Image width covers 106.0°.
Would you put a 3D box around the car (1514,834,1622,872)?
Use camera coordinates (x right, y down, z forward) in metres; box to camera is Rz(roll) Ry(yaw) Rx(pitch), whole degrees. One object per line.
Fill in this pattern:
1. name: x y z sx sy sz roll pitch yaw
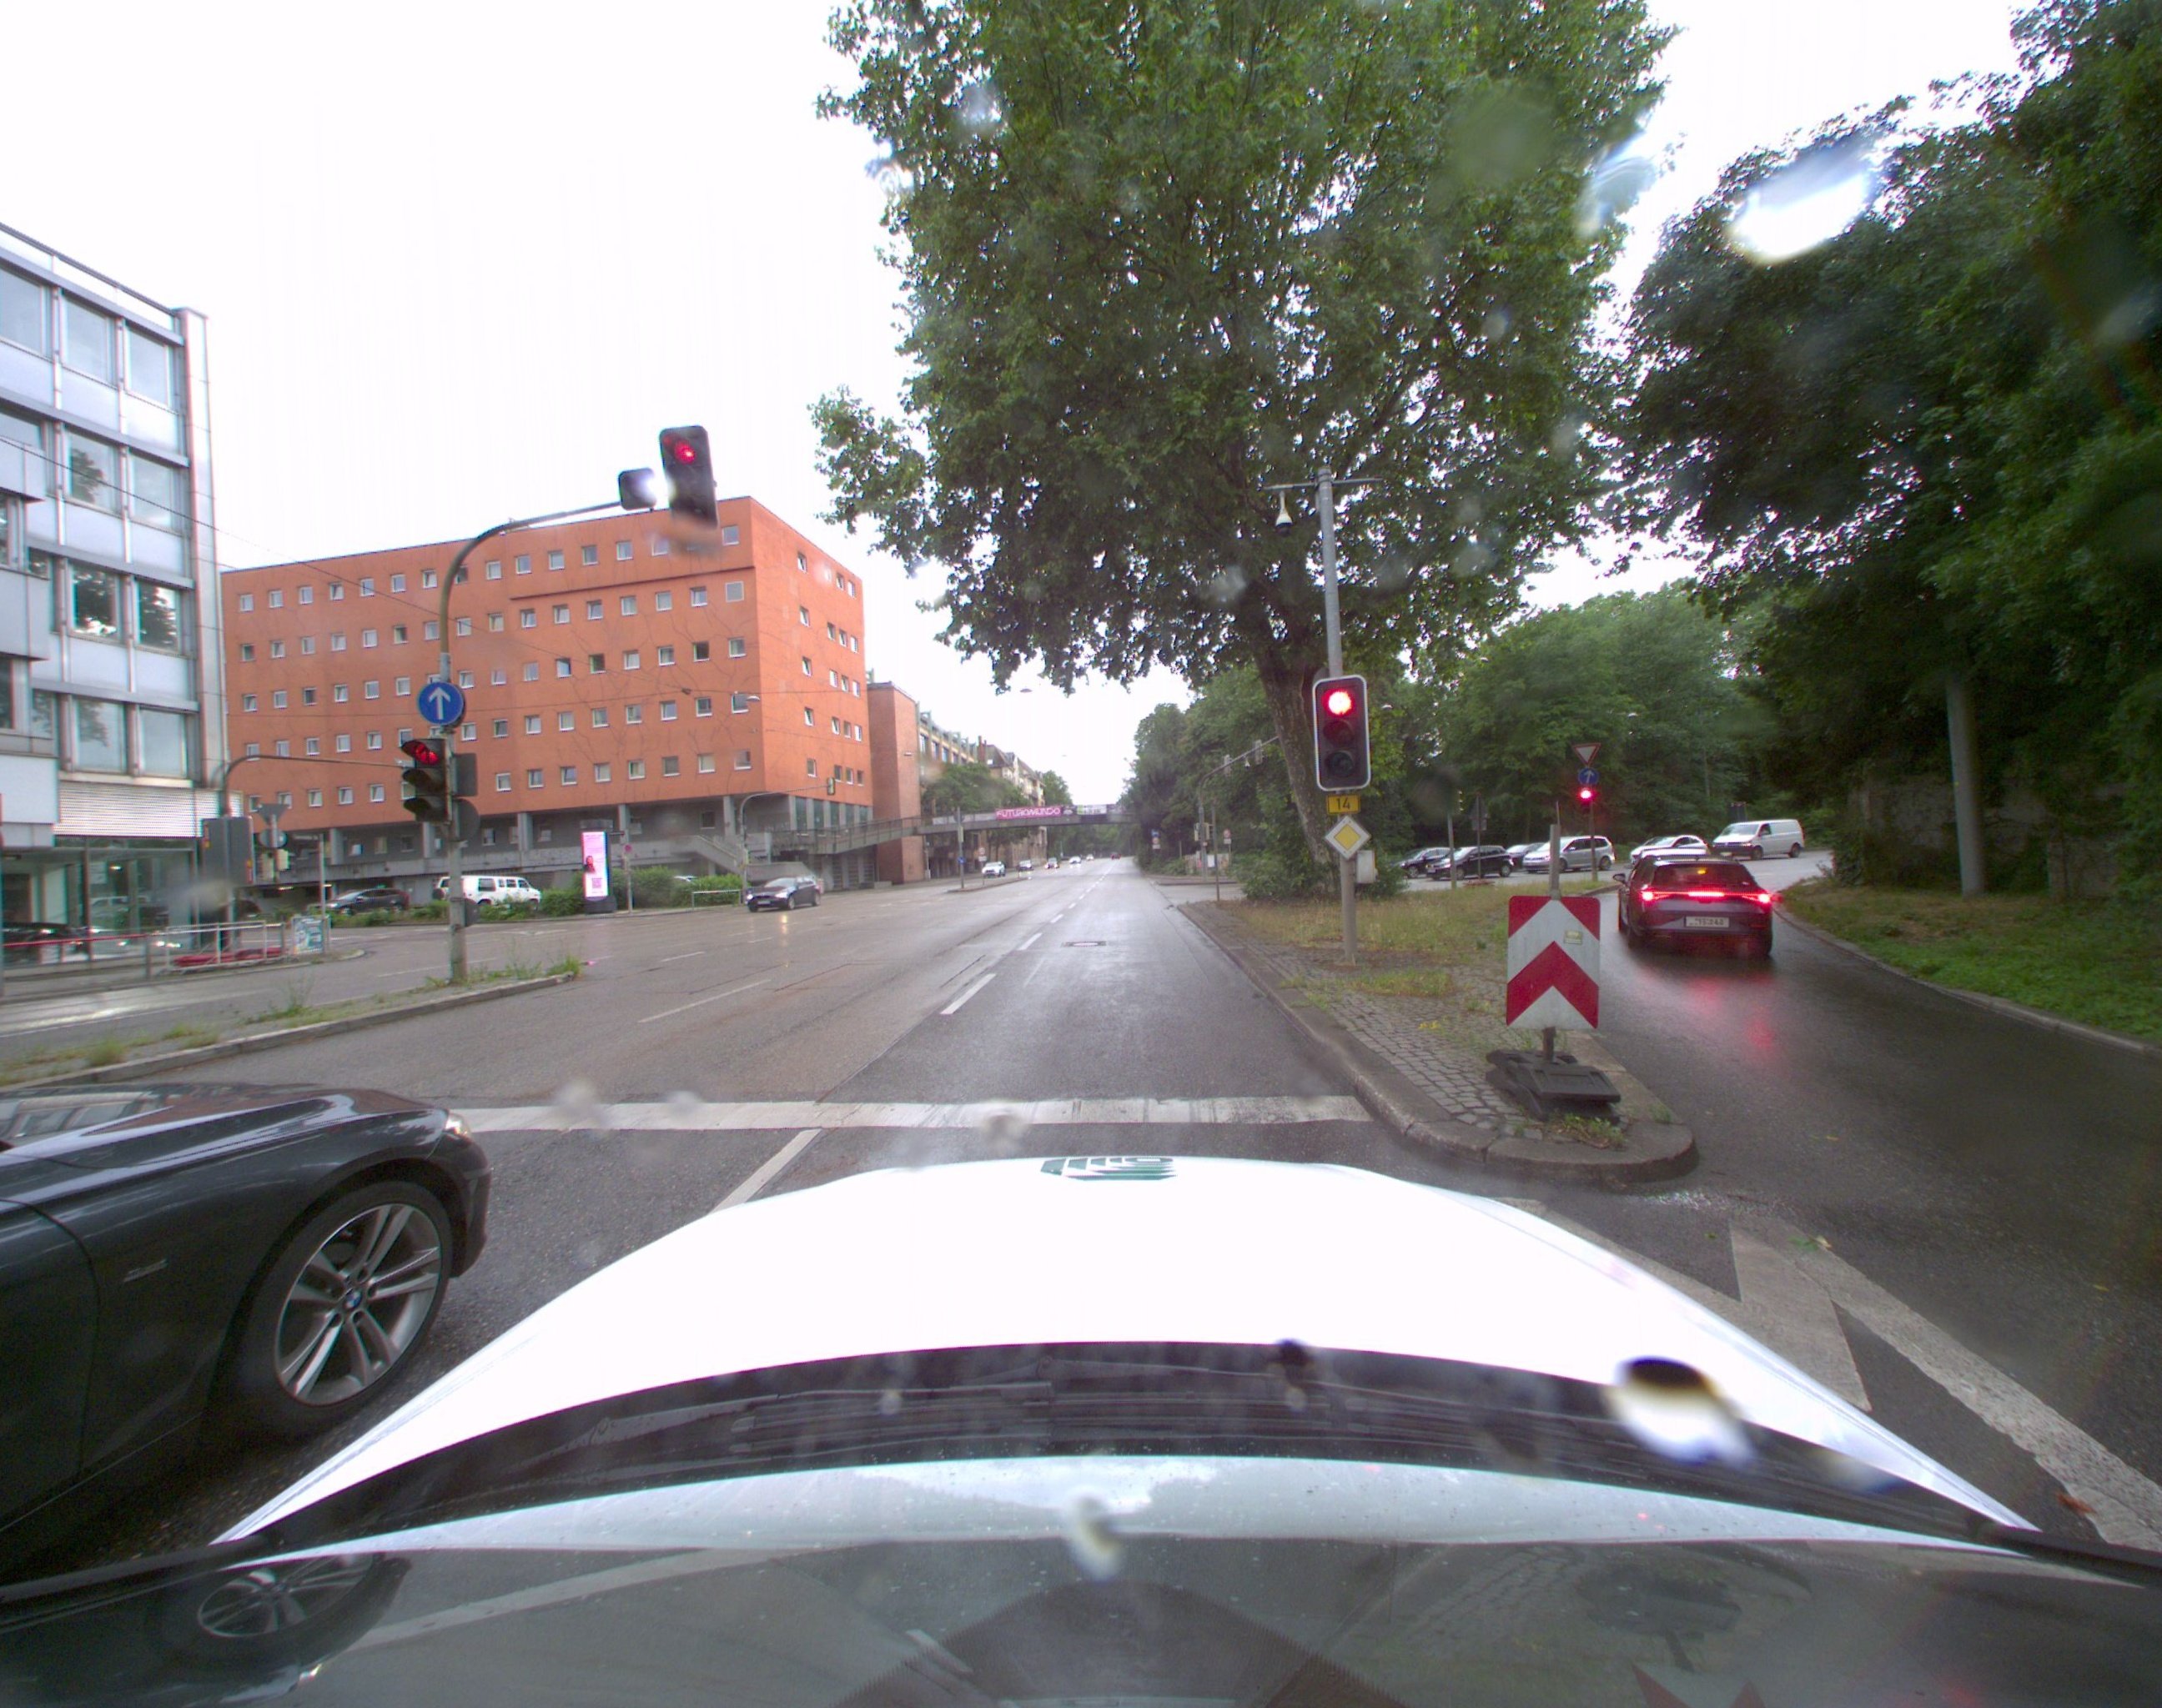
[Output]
1. car: 22.574 -0.051 37.814 4.203 1.680 1.898 0 -1 -14

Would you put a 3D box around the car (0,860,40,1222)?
1. car: -5.998 0.847 1.687 1.801 1.656 4.449 0 -1 4

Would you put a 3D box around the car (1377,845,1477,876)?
1. car: 16.868 0.309 39.807 4.205 1.440 1.941 0 -1 -14

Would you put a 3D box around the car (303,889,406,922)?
1. car: -40.268 2.823 45.271 1.699 1.612 4.097 -1 -1 9

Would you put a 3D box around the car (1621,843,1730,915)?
1. car: 14.070 0.486 19.351 1.834 1.448 4.648 2 2 36

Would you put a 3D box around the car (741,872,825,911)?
1. car: -12.514 1.540 34.499 1.678 1.419 4.219 -4 -1 4

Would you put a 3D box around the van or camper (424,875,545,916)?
1. van or camper: -32.814 2.227 45.055 2.113 1.977 5.466 -1 -1 9

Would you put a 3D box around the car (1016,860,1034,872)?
1. car: -7.466 1.617 108.218 1.701 1.464 4.047 -3 -1 5

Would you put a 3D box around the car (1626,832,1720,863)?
1. car: 28.844 -0.305 39.715 3.857 1.461 1.650 0 -1 -14

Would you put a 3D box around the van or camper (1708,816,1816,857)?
1. van or camper: 34.760 -0.885 41.594 4.862 1.947 1.895 -1 -1 -18

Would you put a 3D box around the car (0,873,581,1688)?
1. car: -2.921 0.836 0.884 1.769 1.458 4.480 -3 -1 3

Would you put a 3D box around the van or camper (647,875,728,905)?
1. van or camper: -24.033 2.192 49.848 3.965 1.627 1.918 -3 0 8

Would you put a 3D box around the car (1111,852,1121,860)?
1. car: 7.955 0.441 186.907 1.998 1.643 4.376 -3 0 0

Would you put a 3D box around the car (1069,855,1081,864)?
1. car: -1.131 1.040 148.974 1.823 1.393 4.409 -4 -1 3

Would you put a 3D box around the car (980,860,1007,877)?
1. car: -9.057 1.448 84.606 1.881 1.610 4.461 -3 -1 4

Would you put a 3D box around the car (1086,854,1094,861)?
1. car: 2.171 0.763 195.516 1.594 1.499 3.715 -4 -1 3

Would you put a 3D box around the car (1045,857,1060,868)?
1. car: -4.028 1.158 113.928 1.676 1.436 3.865 -3 -1 3

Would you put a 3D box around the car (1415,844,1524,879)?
1. car: 17.162 0.313 36.026 4.192 1.460 1.784 0 -1 -14

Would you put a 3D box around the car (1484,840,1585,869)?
1. car: 22.946 0.030 41.217 4.438 1.402 1.821 0 -1 -14

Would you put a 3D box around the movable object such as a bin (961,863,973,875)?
1. movable object such as a bin: -15.115 1.932 107.668 1.277 1.518 1.274 -3 0 3

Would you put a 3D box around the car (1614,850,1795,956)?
1. car: 9.858 0.641 13.222 1.732 1.403 4.441 1 1 30
